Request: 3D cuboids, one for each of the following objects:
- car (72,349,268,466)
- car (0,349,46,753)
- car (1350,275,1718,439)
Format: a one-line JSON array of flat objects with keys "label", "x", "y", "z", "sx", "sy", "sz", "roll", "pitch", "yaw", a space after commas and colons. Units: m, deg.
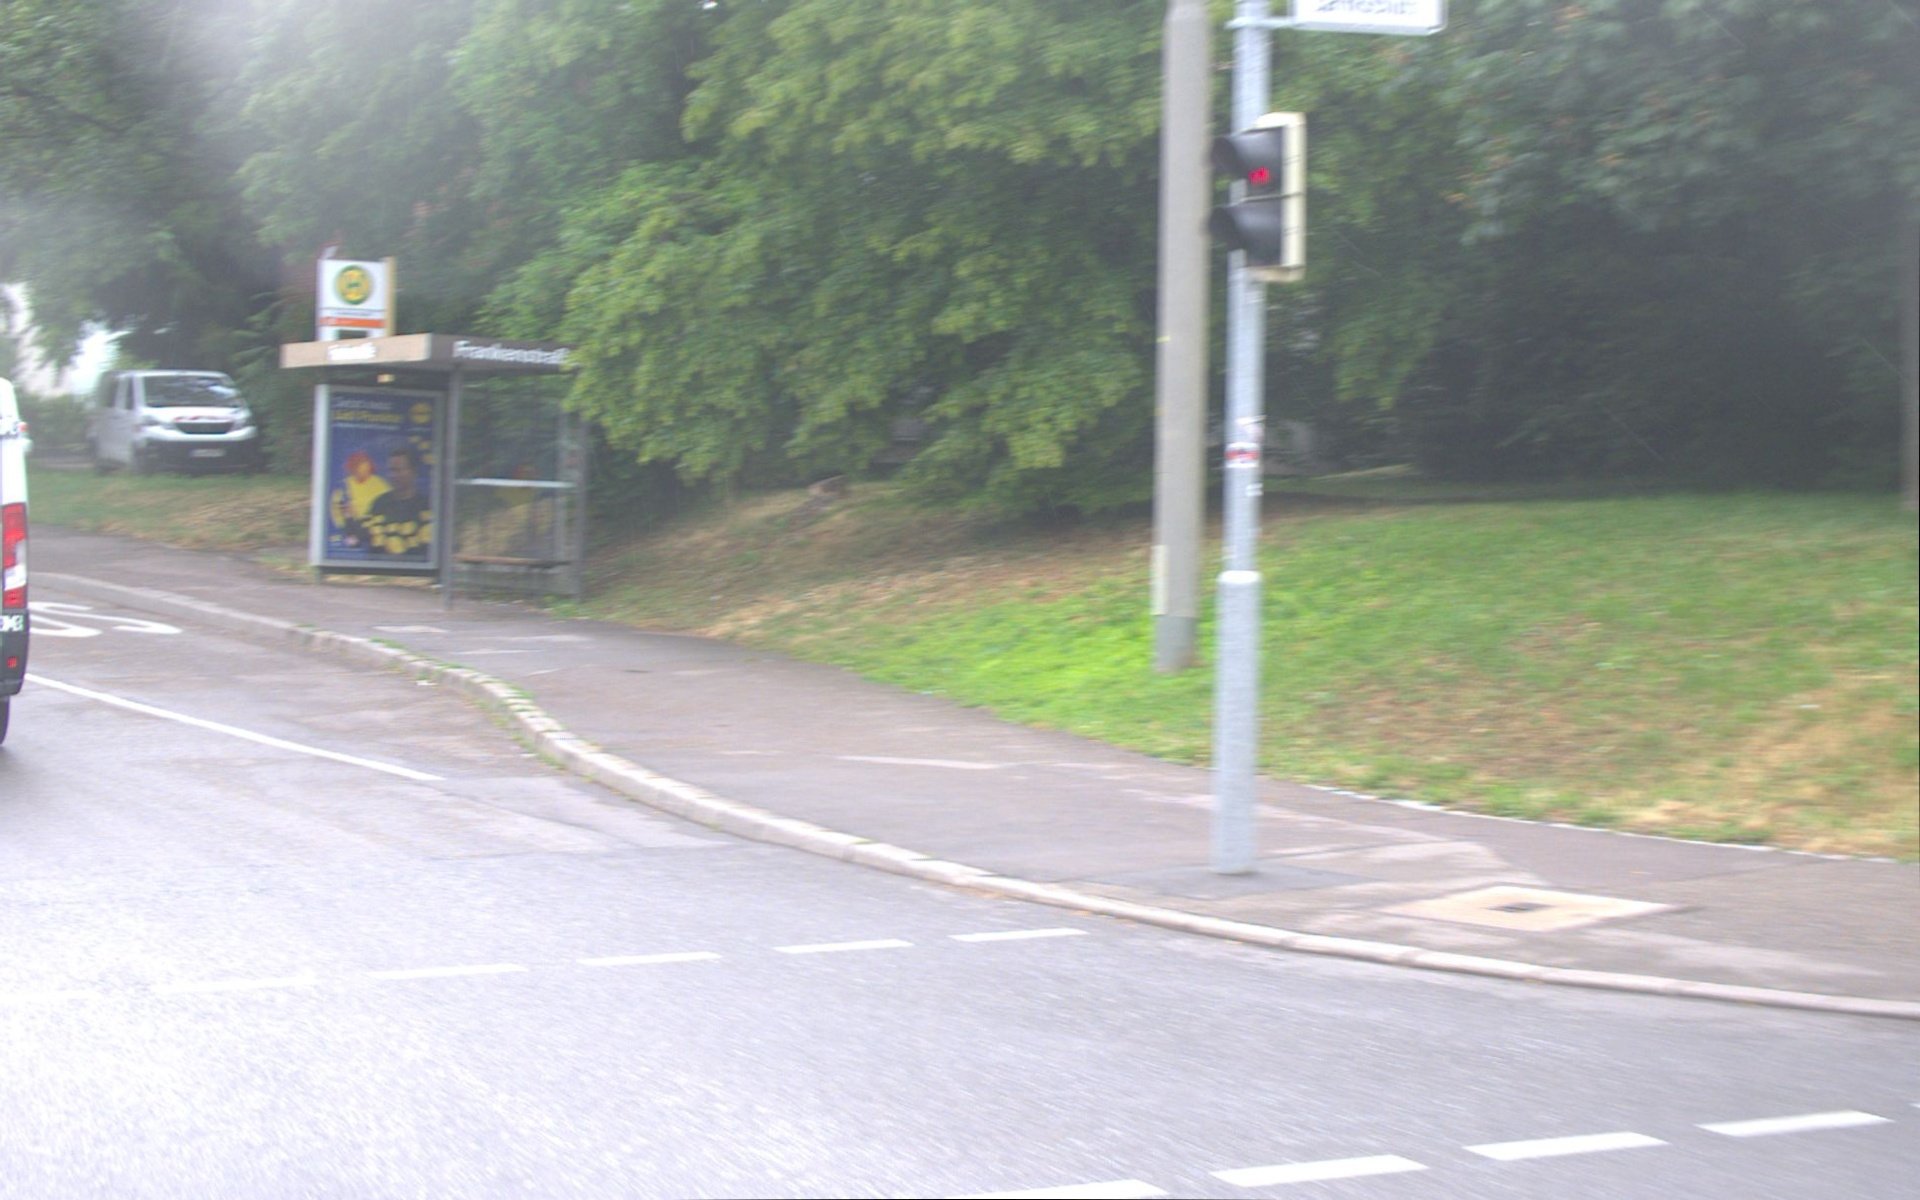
[{"label": "car", "x": -13.296, "y": -3.256, "z": 57.653, "sx": 1.993, "sy": 1.798, "sz": 5.149, "roll": 1, "pitch": 3, "yaw": -27}, {"label": "car", "x": -7.258, "y": -0.344, "z": 21.234, "sx": 2.146, "sy": 2.275, "sz": 5.064, "roll": -2, "pitch": 3, "yaw": -26}, {"label": "car", "x": 7.507, "y": -3.187, "z": 45.143, "sx": 4.313, "sy": 1.773, "sz": 1.803, "roll": -5, "pitch": 4, "yaw": -8}]
